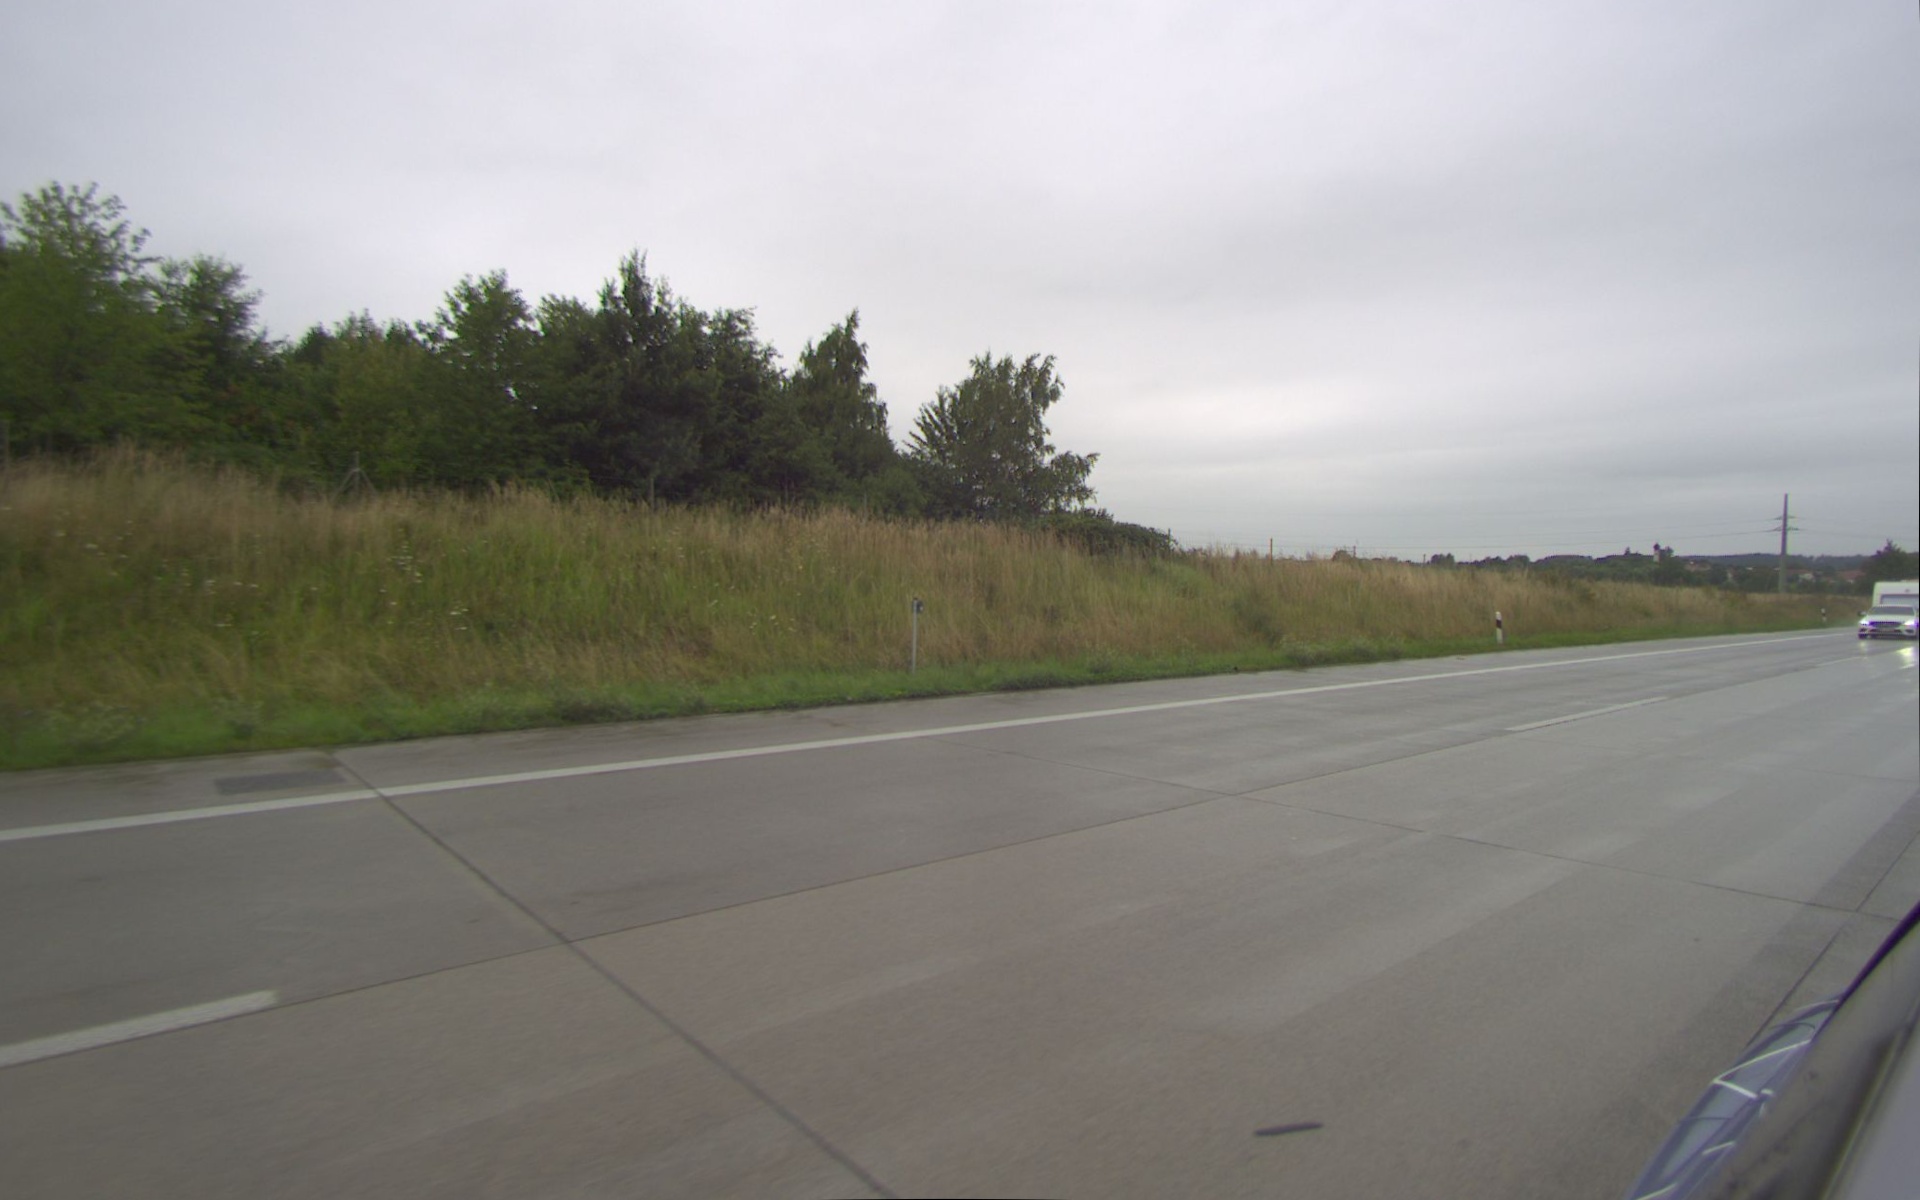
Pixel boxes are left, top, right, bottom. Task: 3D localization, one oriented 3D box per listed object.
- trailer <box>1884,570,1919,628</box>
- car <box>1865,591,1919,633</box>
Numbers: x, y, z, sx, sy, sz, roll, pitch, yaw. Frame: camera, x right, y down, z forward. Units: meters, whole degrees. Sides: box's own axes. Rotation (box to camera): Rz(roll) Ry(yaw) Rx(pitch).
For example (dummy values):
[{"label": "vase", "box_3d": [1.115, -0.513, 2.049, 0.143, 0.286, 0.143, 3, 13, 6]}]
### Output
[{"label": "trailer", "box_3d": [43.764, -0.092, 45.676, 5.837, 2.489, 2.348, -2, 3, -41]}, {"label": "car", "box_3d": [39.289, 0.436, 41.882, 5.849, 1.605, 1.997, -1, 1, -41]}]
